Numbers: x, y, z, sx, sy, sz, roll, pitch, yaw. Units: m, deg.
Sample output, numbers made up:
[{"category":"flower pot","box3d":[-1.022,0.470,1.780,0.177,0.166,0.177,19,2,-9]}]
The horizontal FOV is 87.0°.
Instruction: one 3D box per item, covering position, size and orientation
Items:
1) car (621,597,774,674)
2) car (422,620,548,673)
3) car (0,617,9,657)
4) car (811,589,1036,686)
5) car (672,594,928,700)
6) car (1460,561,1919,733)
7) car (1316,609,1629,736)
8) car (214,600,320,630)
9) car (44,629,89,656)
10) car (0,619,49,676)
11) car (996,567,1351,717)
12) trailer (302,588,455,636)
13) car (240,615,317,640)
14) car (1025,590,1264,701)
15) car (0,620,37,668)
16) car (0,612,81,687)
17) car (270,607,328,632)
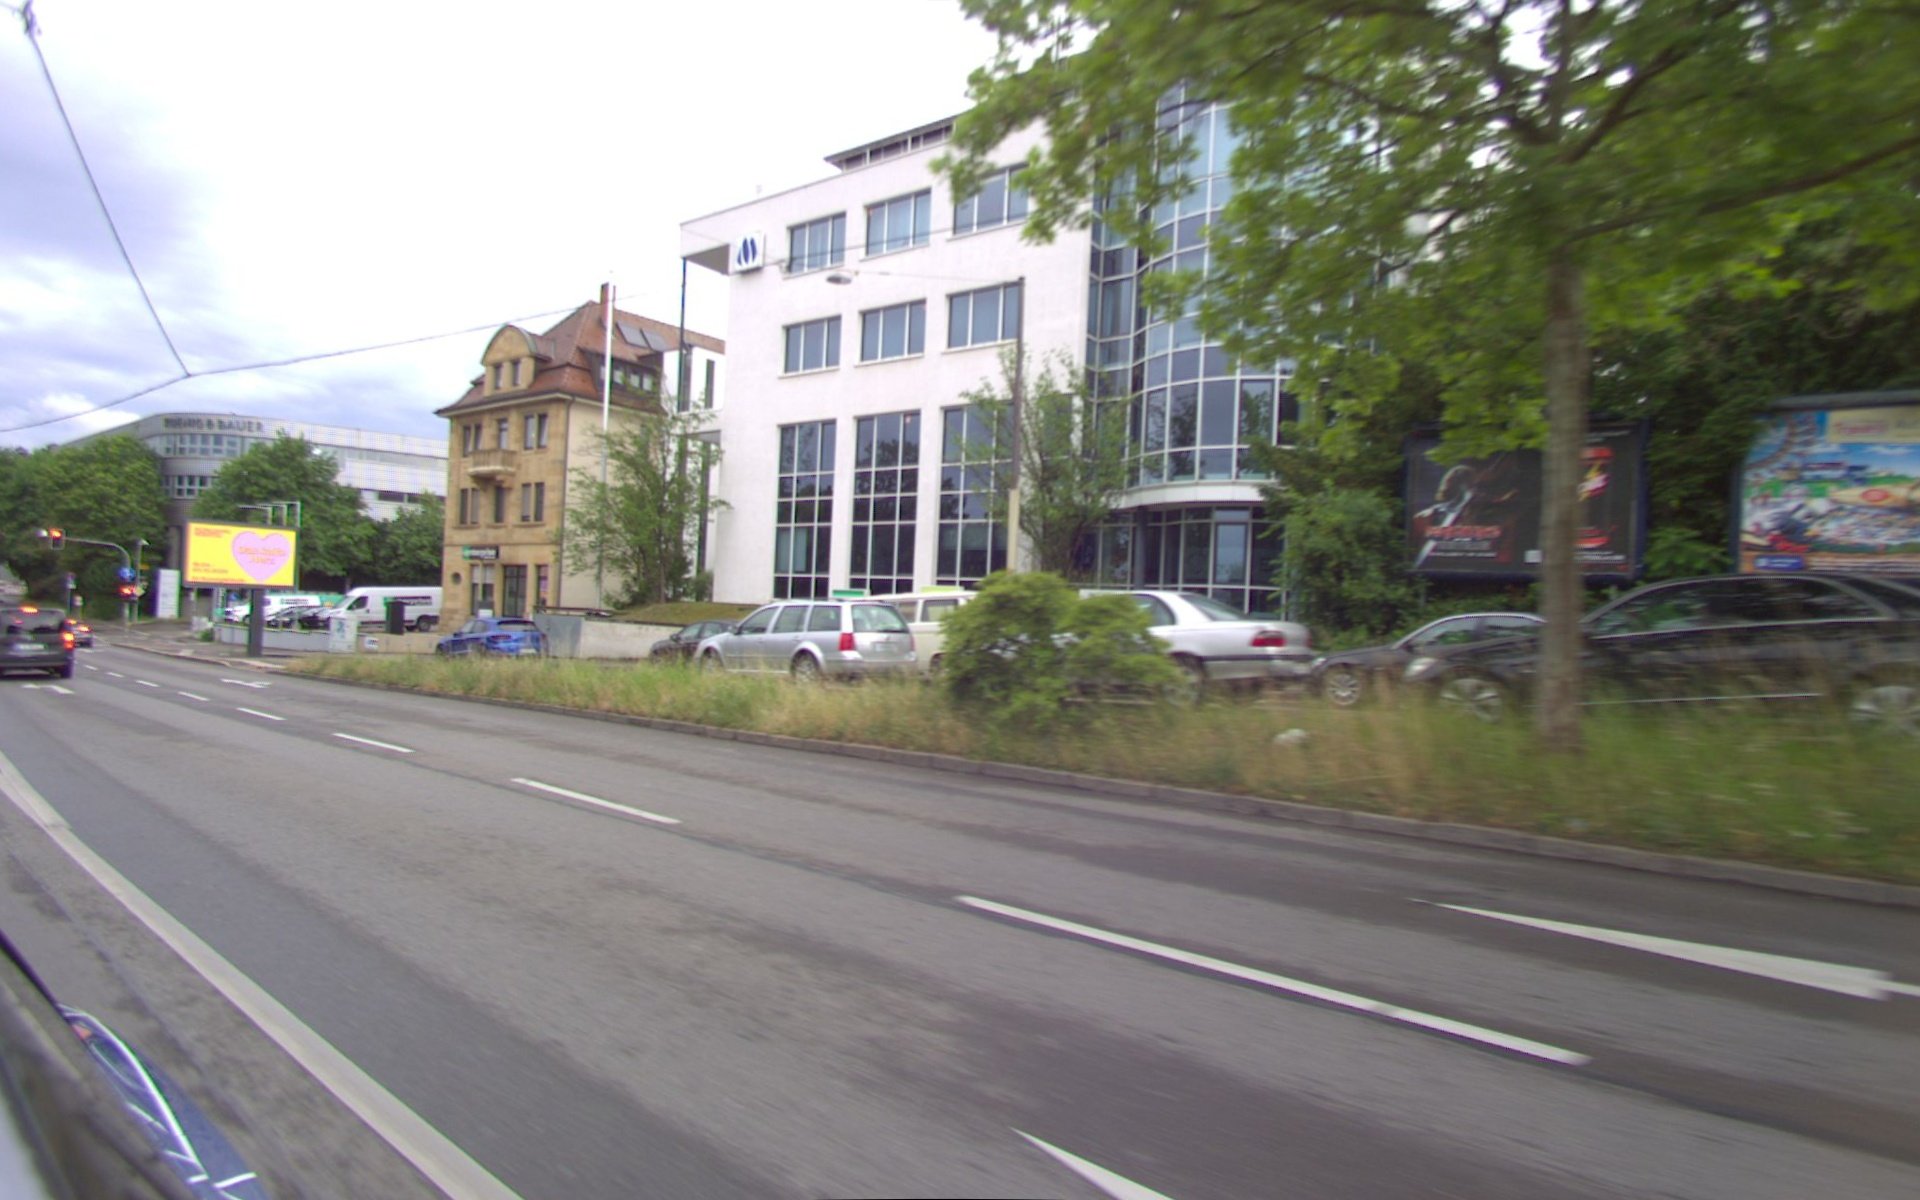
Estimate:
[{"category":"car","box3d":[-6.466,0.902,24.755,3.989,1.735,1.594,-2,-4,39]},{"category":"car","box3d":[-14.847,1.471,31.528,4.667,1.546,1.671,-2,-4,39]},{"category":"car","box3d":[-46.789,1.708,48.086,5.170,1.832,1.913,-1,-3,43]},{"category":"car","box3d":[-0.825,0.794,20.630,4.579,1.759,1.753,-2,-4,39]},{"category":"car","box3d":[-2.700,0.774,16.415,4.440,1.489,1.630,-3,-4,41]},{"category":"car","box3d":[6.641,0.381,8.360,4.217,1.214,1.680,-2,-3,41]},{"category":"car","box3d":[7.166,0.940,14.308,3.679,1.467,1.614,2,-1,39]},{"category":"car","box3d":[-46.164,1.044,67.530,2.214,1.815,5.310,2,-1,34]},{"category":"car","box3d":[-45.491,2.164,51.509,2.452,1.232,1.362,1,-1,41]},{"category":"car","box3d":[-31.152,1.495,32.955,4.727,1.616,1.670,1,-1,42]},{"category":"car","box3d":[2.487,0.530,12.382,3.988,1.552,1.576,-2,-4,39]},{"category":"trailer","box3d":[-32.569,0.707,56.939,2.394,2.446,7.024,1,-1,40]},{"category":"car","box3d":[-41.289,1.647,61.361,1.741,1.379,3.573,1,1,41]},{"category":"car","box3d":[3.099,0.797,17.422,3.777,1.709,1.576,-2,-4,39]},{"category":"car","box3d":[-36.164,1.607,37.876,4.625,1.710,1.933,-1,-3,43]},{"category":"car","box3d":[-25.646,1.307,27.501,5.040,1.881,1.993,-1,-3,42]},{"category":"car","box3d":[-39.099,1.131,59.880,1.227,1.435,2.650,1,1,41]}]
